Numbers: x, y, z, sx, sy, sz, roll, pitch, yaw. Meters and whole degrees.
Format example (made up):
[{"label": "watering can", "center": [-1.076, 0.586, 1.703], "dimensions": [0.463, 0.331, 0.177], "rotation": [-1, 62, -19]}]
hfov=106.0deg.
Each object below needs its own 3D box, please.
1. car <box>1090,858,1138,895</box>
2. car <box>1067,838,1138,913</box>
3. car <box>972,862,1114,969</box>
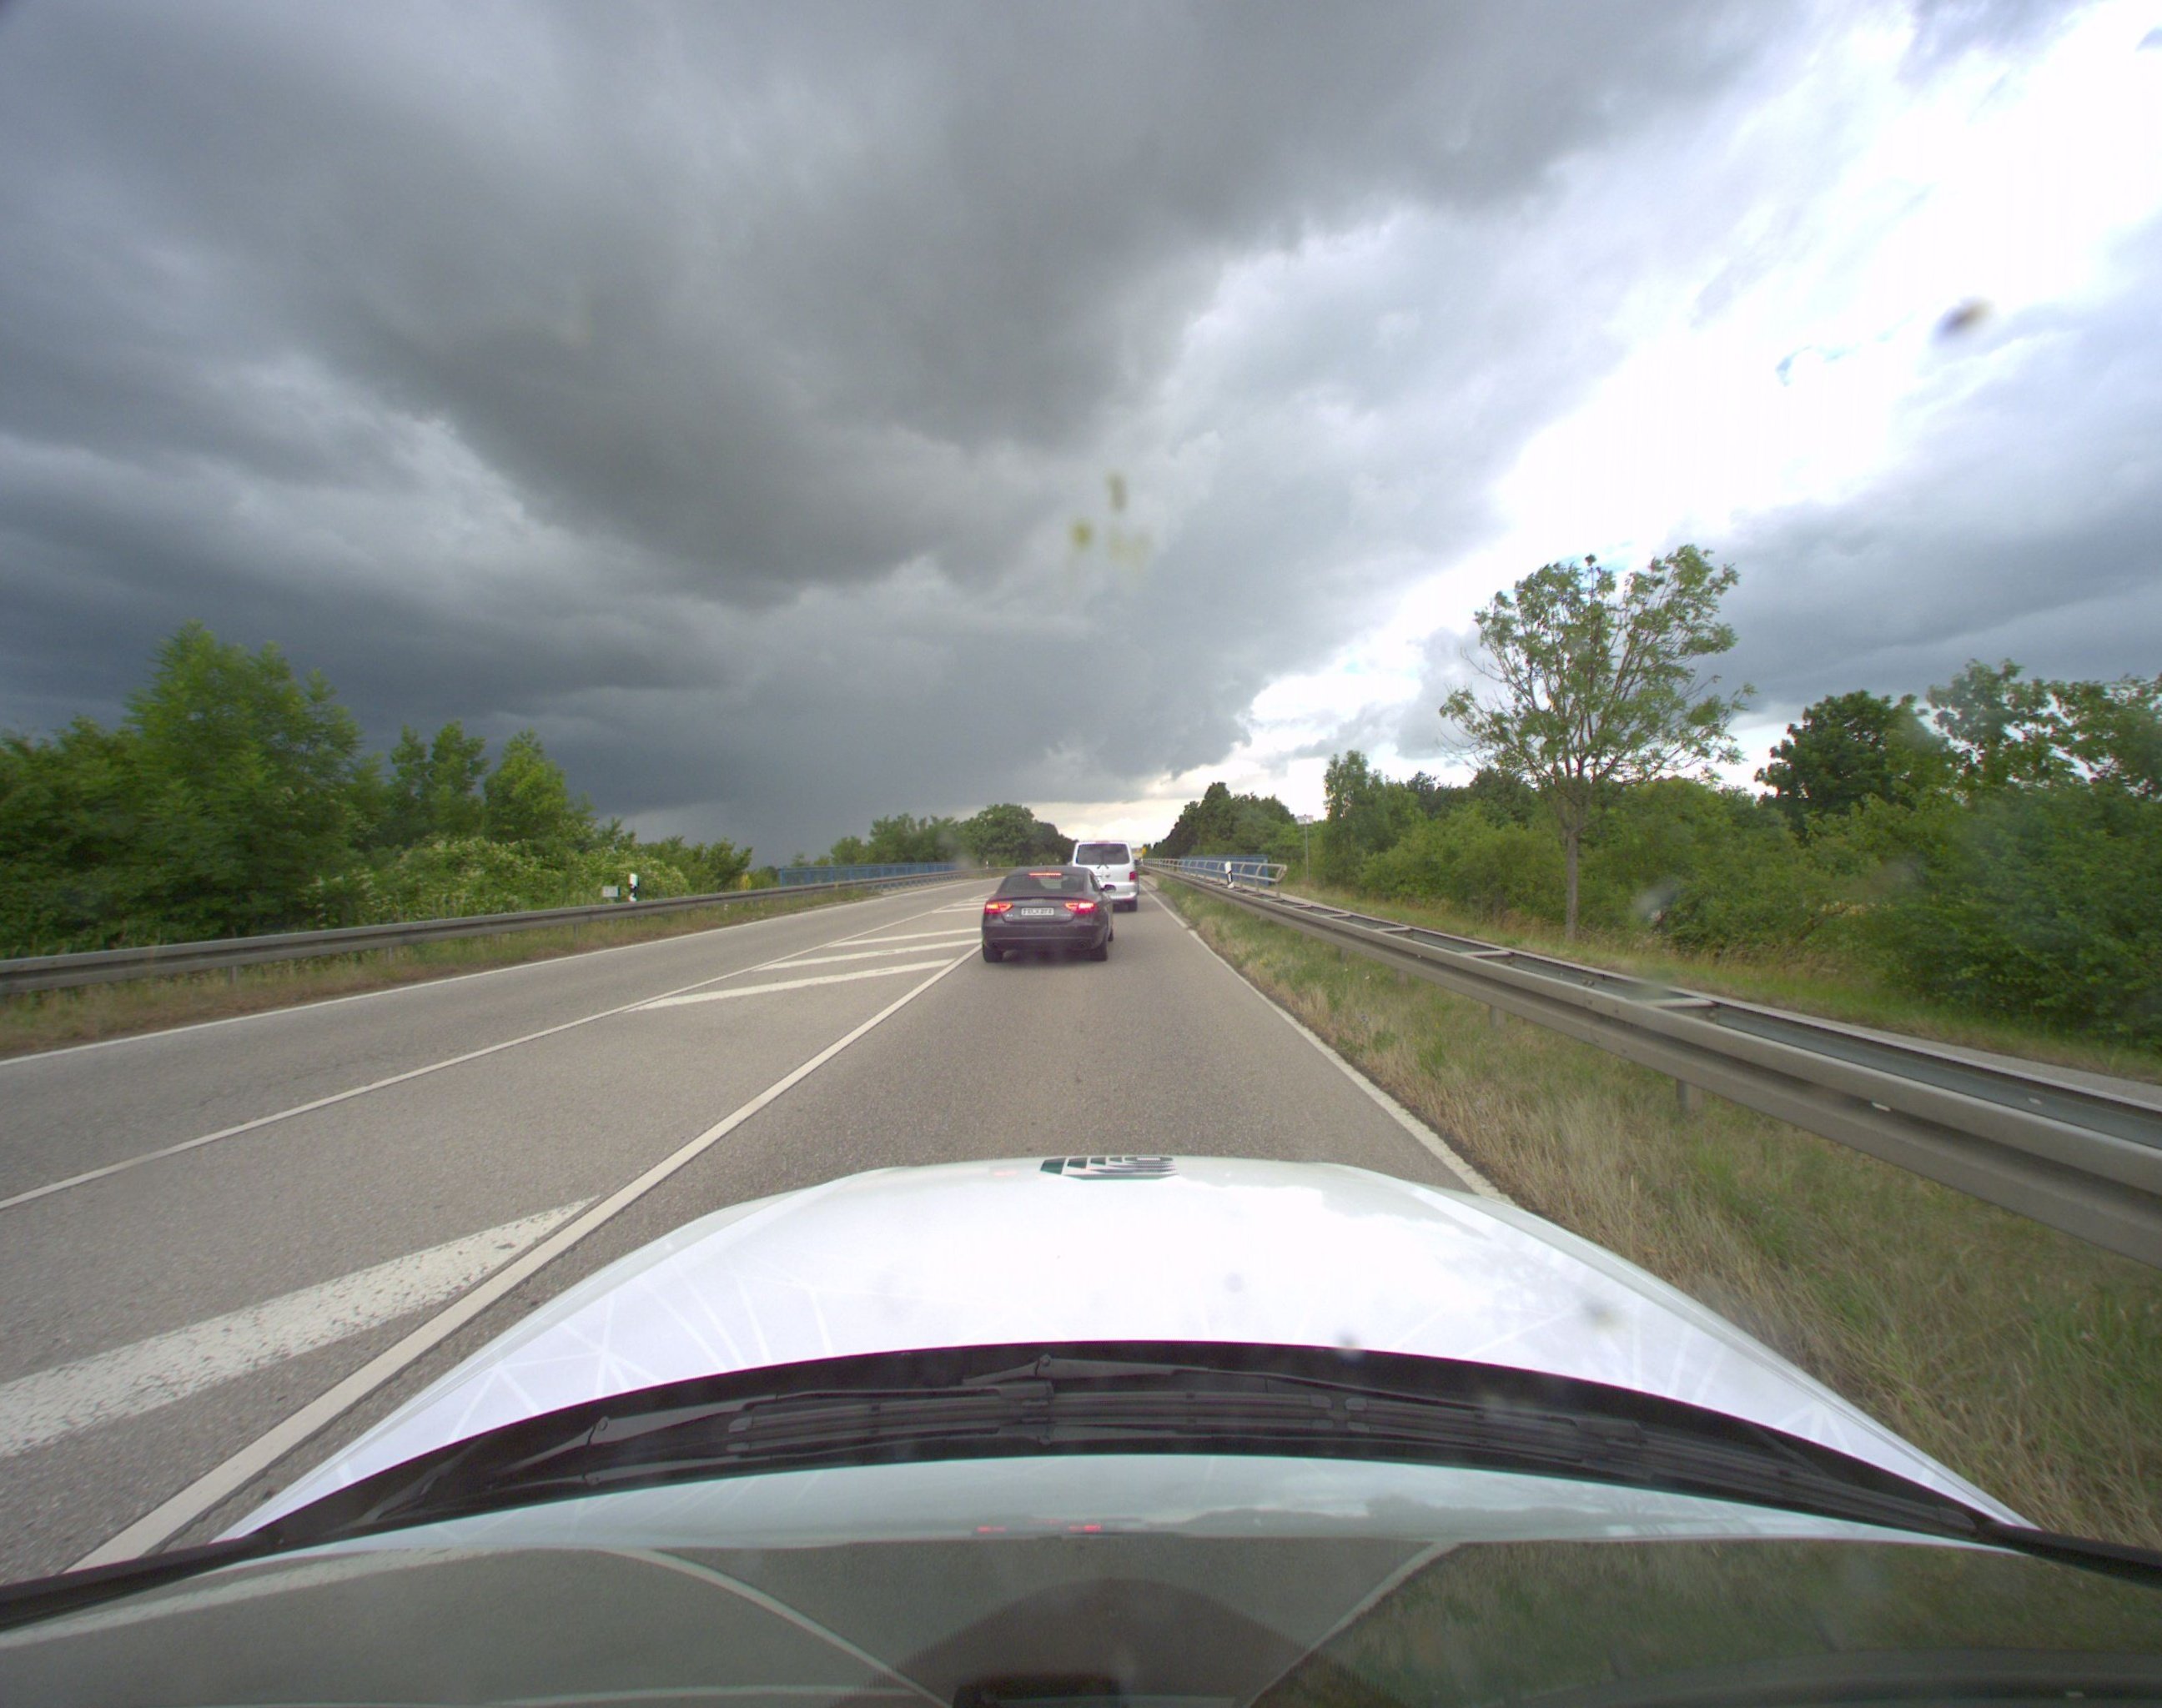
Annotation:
[{"label": "car", "center": [1.403, 0.899, 33.578], "dimensions": [1.814, 1.381, 4.075], "rotation": [-1, -1, 3]}, {"label": "car", "center": [0.649, 0.586, 23.571], "dimensions": [1.821, 1.935, 4.002], "rotation": [-2, -1, 2]}, {"label": "car", "center": [-0.440, 0.846, 13.000], "dimensions": [1.814, 1.381, 4.075], "rotation": [-2, -1, 3]}]
